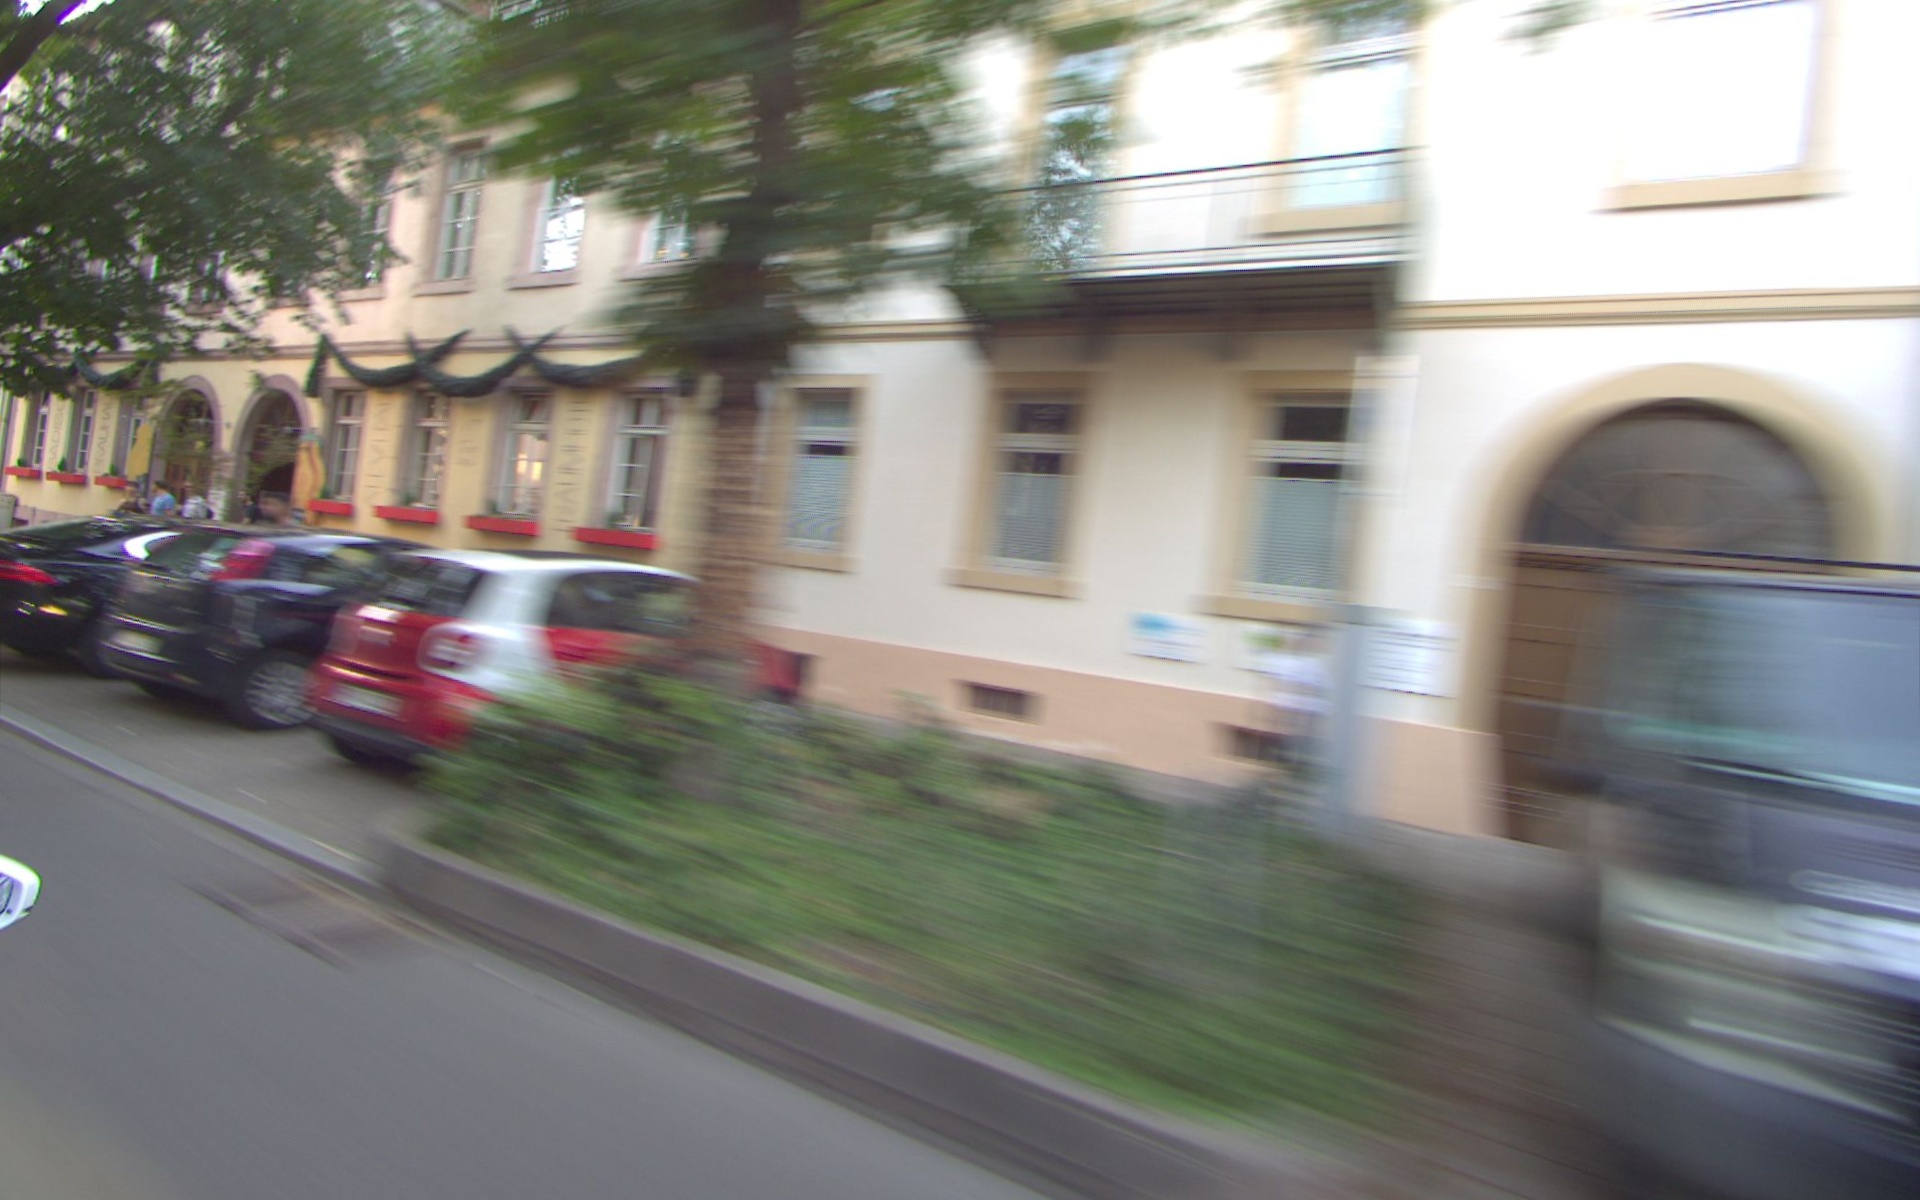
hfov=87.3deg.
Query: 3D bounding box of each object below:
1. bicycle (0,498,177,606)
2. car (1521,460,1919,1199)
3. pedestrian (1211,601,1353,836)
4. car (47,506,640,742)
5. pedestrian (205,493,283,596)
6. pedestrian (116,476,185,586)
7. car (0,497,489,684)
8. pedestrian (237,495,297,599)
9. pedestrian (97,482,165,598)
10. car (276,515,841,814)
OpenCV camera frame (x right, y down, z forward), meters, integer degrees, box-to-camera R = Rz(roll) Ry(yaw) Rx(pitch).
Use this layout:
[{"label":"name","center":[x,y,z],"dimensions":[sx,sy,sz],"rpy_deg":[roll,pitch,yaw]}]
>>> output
[{"label":"bicycle","center":[-11.499,-0.599,13.192],"dimensions":[0.661,1.249,1.799],"rpy_deg":[7,1,20]},{"label":"car","center":[3.429,0.879,3.841],"dimensions":[2.002,2.038,4.693],"rpy_deg":[7,2,29]},{"label":"pedestrian","center":[2.465,0.886,7.682],"dimensions":[0.724,1.617,0.671],"rpy_deg":[7,-1,29]},{"label":"car","center":[-5.063,0.179,8.874],"dimensions":[1.893,1.456,3.991],"rpy_deg":[7,2,28]},{"label":"pedestrian","center":[-13.173,-1.005,18.515],"dimensions":[0.671,1.761,0.779],"rpy_deg":[8,2,14]},{"label":"pedestrian","center":[-13.781,-1.167,17.130],"dimensions":[0.613,1.761,0.616],"rpy_deg":[8,2,30]},{"label":"car","center":[-7.242,-0.093,9.944],"dimensions":[1.853,1.412,4.405],"rpy_deg":[7,2,27]},{"label":"pedestrian","center":[-12.409,-0.951,18.028],"dimensions":[0.720,1.761,0.737],"rpy_deg":[6,2,-33]},{"label":"pedestrian","center":[-13.361,-0.967,16.223],"dimensions":[0.708,1.761,0.739],"rpy_deg":[6,2,-41]},{"label":"car","center":[-2.757,0.395,7.703],"dimensions":[1.685,1.599,3.682],"rpy_deg":[7,2,30]}]
